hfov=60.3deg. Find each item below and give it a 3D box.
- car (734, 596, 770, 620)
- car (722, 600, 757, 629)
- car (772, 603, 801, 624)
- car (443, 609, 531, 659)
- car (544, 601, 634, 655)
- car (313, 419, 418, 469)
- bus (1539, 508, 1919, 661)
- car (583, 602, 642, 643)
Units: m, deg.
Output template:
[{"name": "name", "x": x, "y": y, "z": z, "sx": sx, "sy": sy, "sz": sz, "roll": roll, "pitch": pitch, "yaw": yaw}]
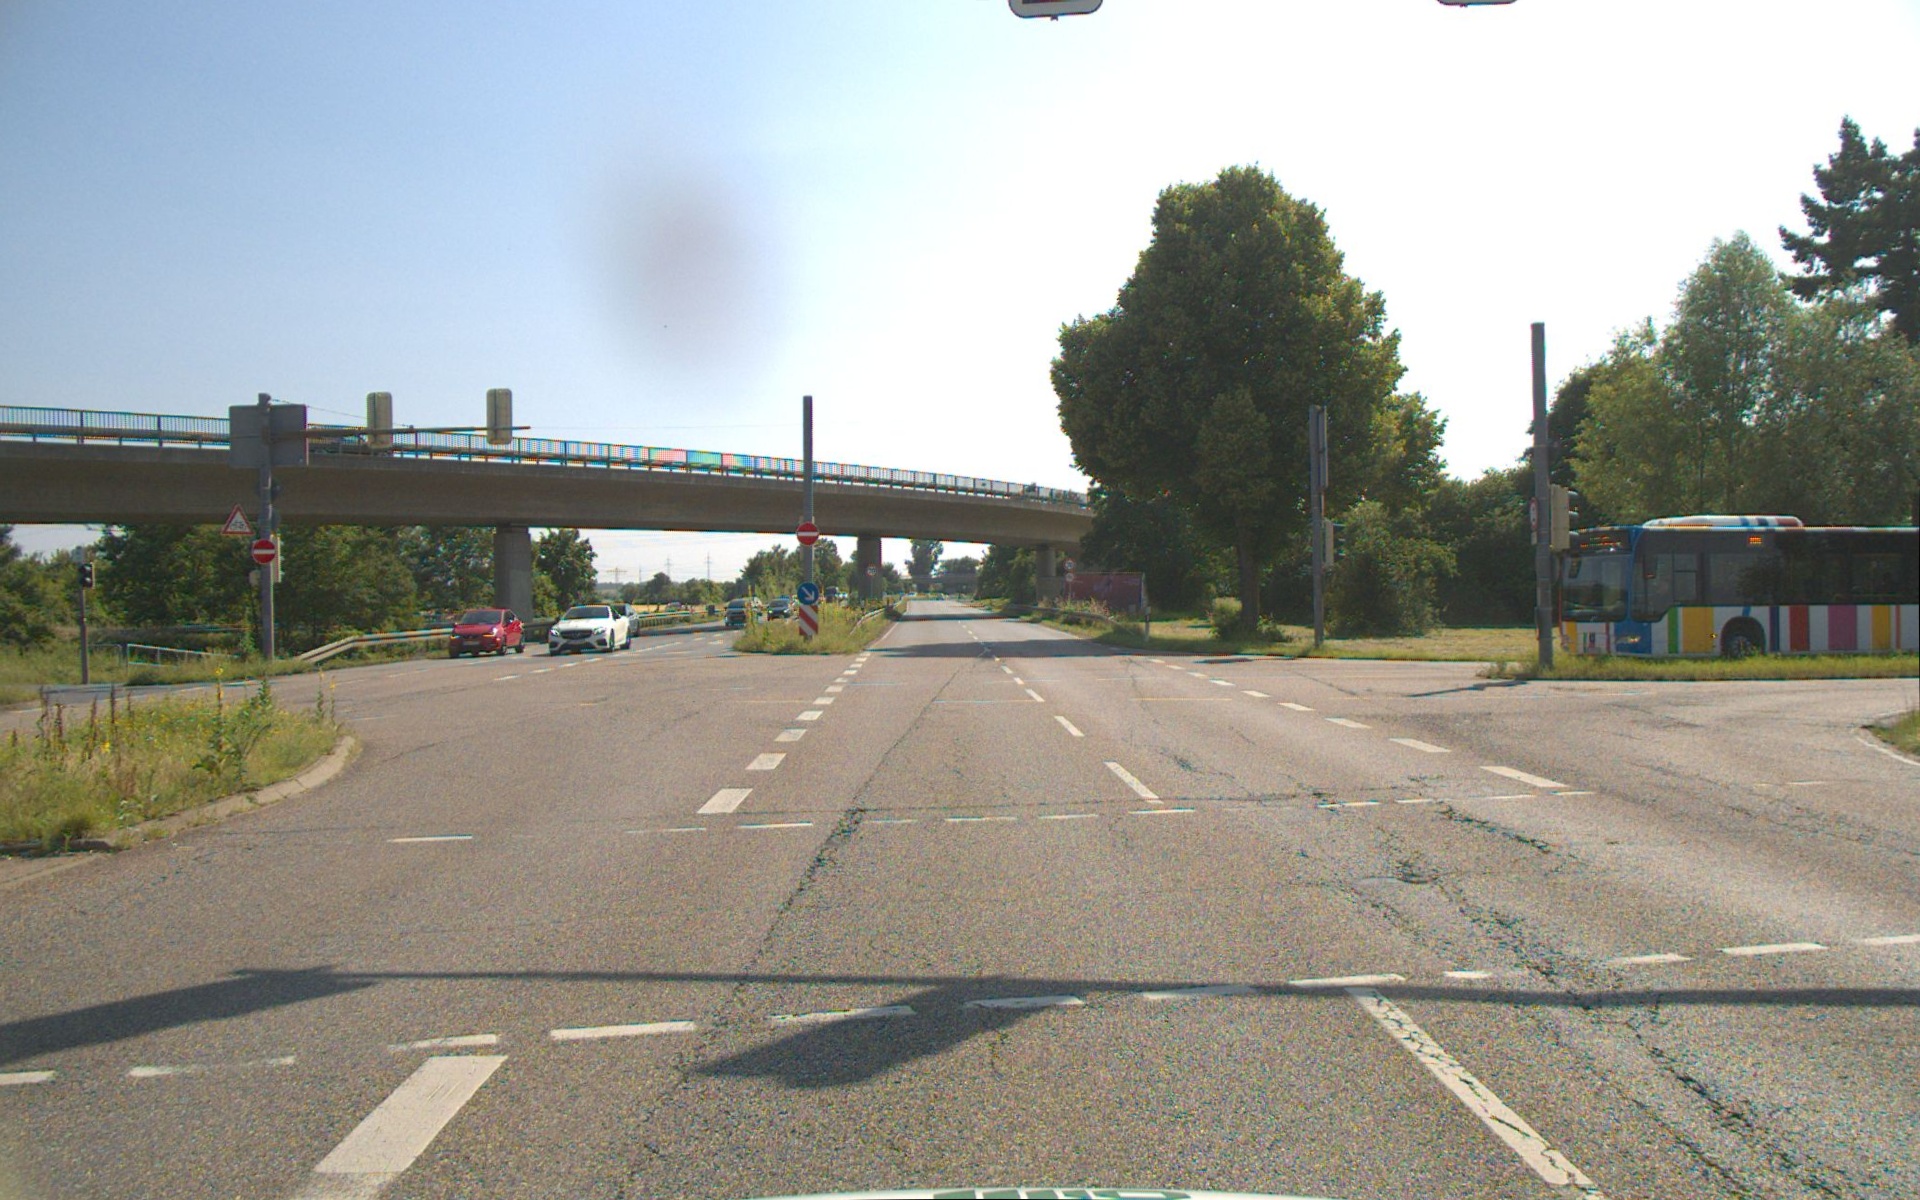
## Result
[{"name": "car", "x": -18.353, "y": 0.709, "z": 145.998, "sx": 1.951, "sy": 2.049, "sz": 4.004, "roll": -2, "pitch": 0, "yaw": 11}, {"name": "car", "x": -12.588, "y": 0.789, "z": 94.614, "sx": 1.525, "sy": 1.567, "sz": 3.999, "roll": -2, "pitch": 0, "yaw": -1}, {"name": "car", "x": -11.633, "y": 0.895, "z": 111.016, "sx": 1.525, "sy": 1.281, "sz": 3.999, "roll": -2, "pitch": 0, "yaw": -1}, {"name": "car", "x": -14.714, "y": 1.026, "z": 51.633, "sx": 1.607, "sy": 1.409, "sz": 4.239, "roll": -2, "pitch": 0, "yaw": -2}, {"name": "car", "x": -11.253, "y": 0.811, "z": 50.455, "sx": 1.819, "sy": 1.473, "sz": 4.239, "roll": -3, "pitch": 0, "yaw": -2}, {"name": "car", "x": -21.998, "y": -5.766, "z": 61.286, "sx": 1.510, "sy": 1.503, "sz": 3.378, "roll": -3, "pitch": -1, "yaw": 36}, {"name": "bus", "x": 18.447, "y": -0.420, "z": 35.652, "sx": 11.745, "sy": 2.927, "sz": 2.929, "roll": -2, "pitch": 0, "yaw": -16}, {"name": "car", "x": -14.748, "y": 0.925, "z": 70.386, "sx": 1.754, "sy": 1.656, "sz": 3.998, "roll": -2, "pitch": 0, "yaw": -2}]
